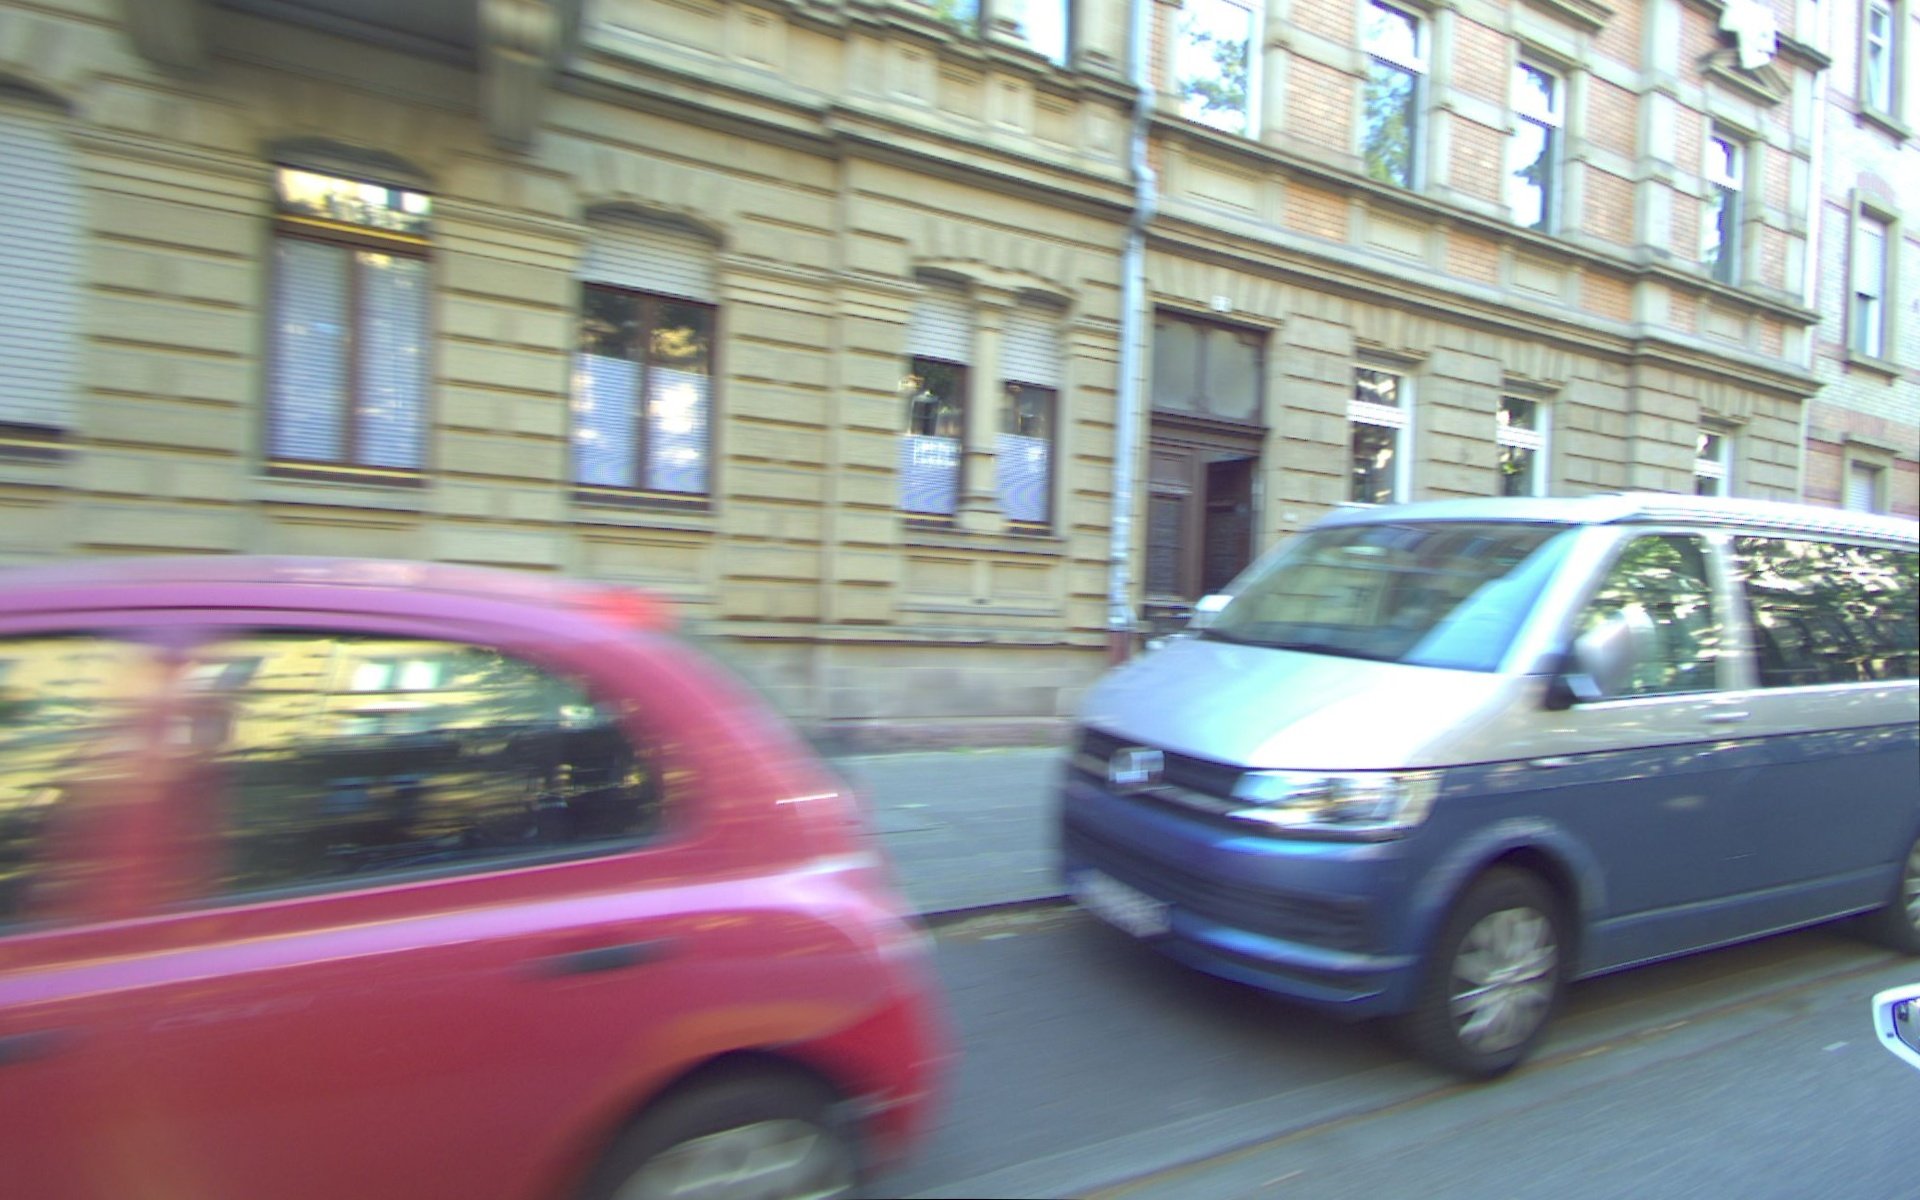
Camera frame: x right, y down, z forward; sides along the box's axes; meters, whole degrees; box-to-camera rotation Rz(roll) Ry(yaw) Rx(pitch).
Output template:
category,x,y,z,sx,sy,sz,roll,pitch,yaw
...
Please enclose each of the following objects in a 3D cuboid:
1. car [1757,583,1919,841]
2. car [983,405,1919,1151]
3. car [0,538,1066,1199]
category,x,y,z,sx,sy,sz,roll,pitch,yaw
car,8.129,0.792,7.404,4.325,1.630,1.748,2,2,-25
car,2.849,0.506,4.628,5.192,1.969,1.825,2,2,-27
car,-1.785,0.634,2.046,3.649,1.495,1.588,2,2,-25
